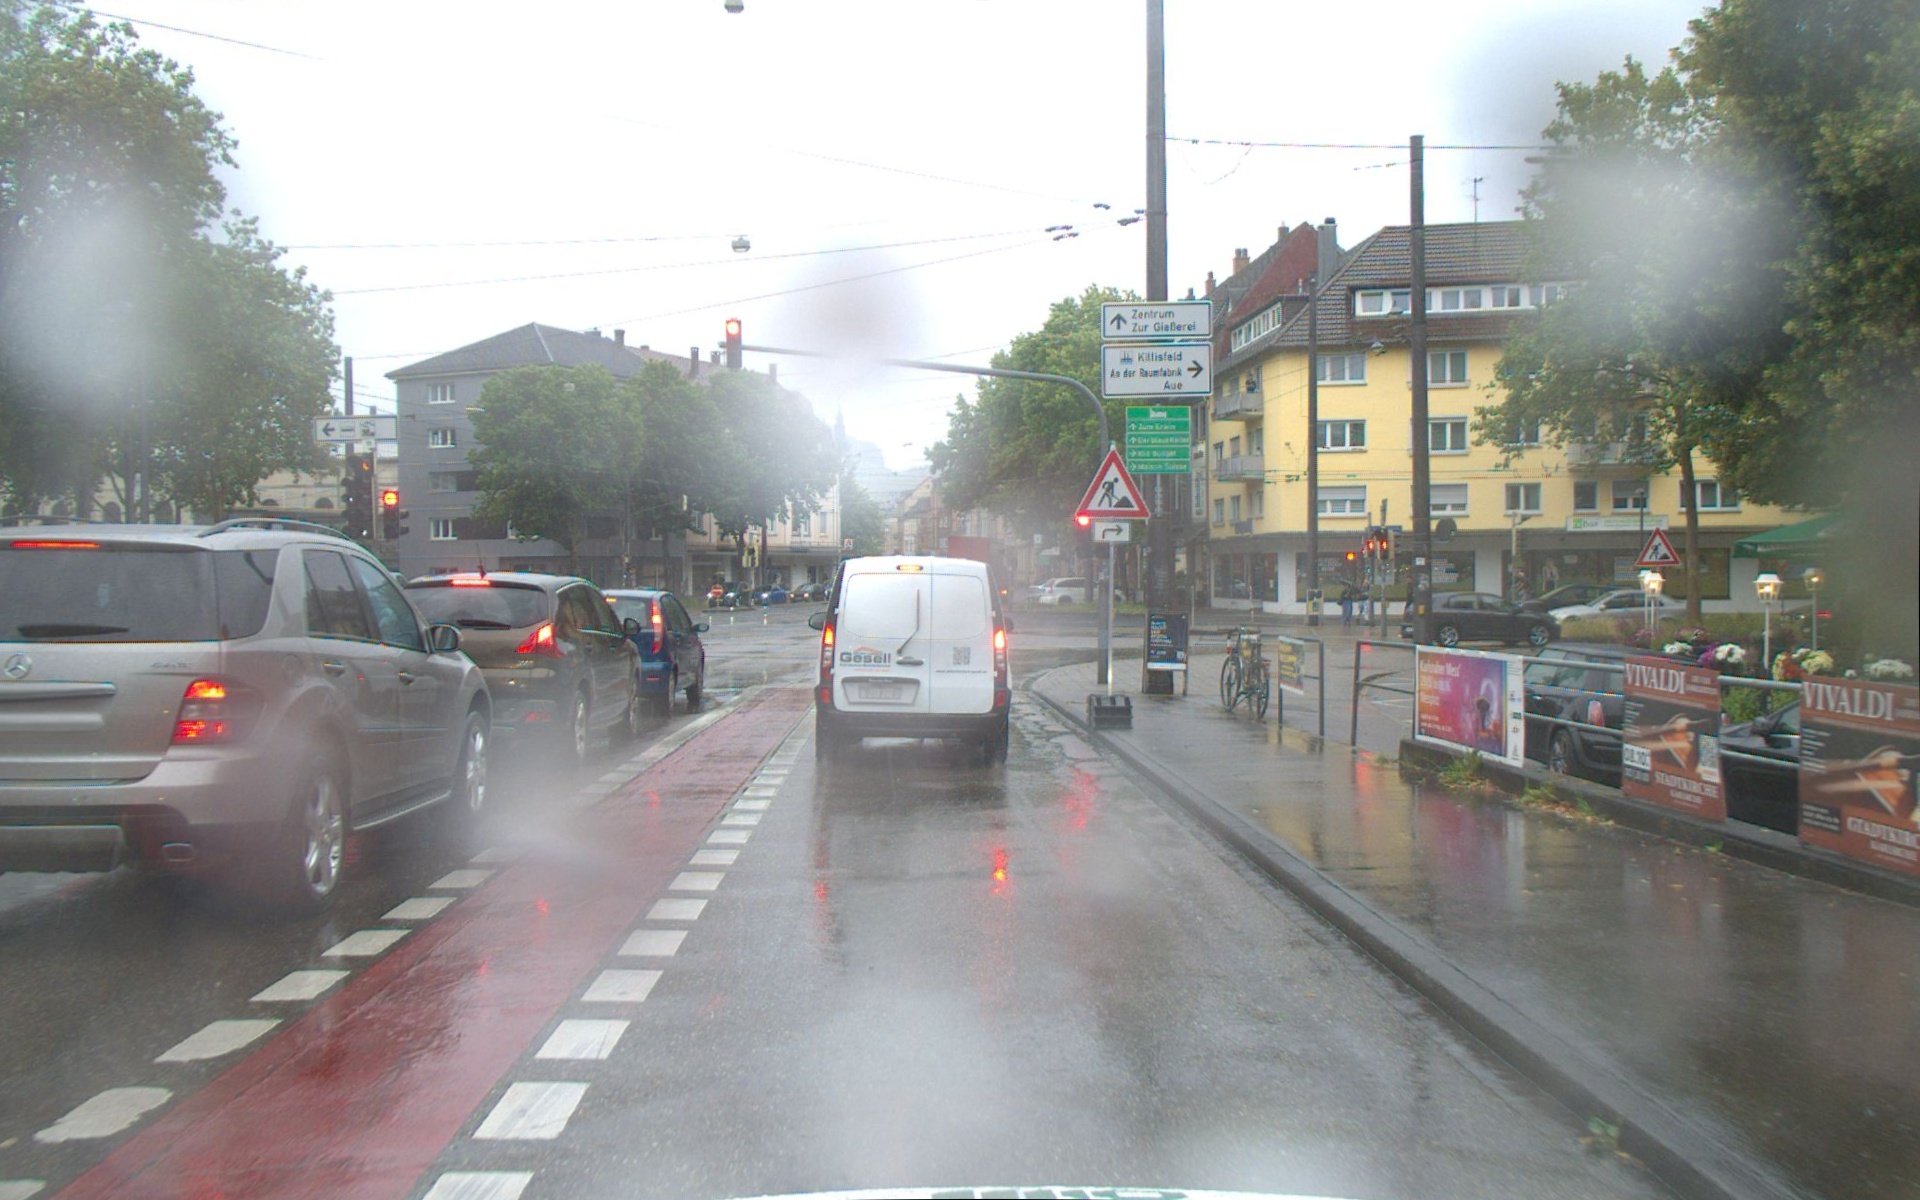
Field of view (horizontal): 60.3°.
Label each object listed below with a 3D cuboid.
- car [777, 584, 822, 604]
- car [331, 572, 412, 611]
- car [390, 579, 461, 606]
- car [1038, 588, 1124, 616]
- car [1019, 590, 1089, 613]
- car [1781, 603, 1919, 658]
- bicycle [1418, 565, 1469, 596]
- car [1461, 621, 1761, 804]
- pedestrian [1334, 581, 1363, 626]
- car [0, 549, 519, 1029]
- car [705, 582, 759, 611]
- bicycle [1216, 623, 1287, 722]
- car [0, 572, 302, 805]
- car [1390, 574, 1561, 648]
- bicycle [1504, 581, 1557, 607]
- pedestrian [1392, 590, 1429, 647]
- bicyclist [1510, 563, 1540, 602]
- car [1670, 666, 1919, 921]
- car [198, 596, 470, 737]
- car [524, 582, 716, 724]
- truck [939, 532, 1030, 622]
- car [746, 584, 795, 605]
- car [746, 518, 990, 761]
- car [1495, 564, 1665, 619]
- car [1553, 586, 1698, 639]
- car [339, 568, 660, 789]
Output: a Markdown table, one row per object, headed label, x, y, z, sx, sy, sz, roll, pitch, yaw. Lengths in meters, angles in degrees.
| label | x | y | z | sx | sy | sz | roll | pitch | yaw |
| --- | --- | --- | --- | --- | --- | --- | --- | --- | --- |
| car | -11.353 | -0.432 | 117.134 | 1.909 | 1.260 | 4.004 | 0 | 2 | 15 |
| car | -35.728 | -0.551 | 100.556 | 1.953 | 2.236 | 4.788 | 2 | 2 | 22 |
| car | -32.502 | -0.462 | 100.758 | 1.915 | 1.522 | 3.998 | 2 | 2 | 25 |
| car | 6.095 | 0.079 | 83.219 | 4.089 | 1.362 | 1.518 | 0 | 1 | -9 |
| car | 4.809 | 0.085 | 84.973 | 3.378 | 1.150 | 1.468 | 1 | 0 | -10 |
| car | 23.913 | 0.780 | 43.307 | 3.902 | 1.355 | 2.002 | 1 | 0 | 10 |
| bicycle | 20.419 | -0.843 | 69.864 | 2.056 | 1.283 | 0.532 | 0 | 1 | 13 |
| car | 6.592 | 1.073 | 17.165 | 1.670 | 1.467 | 3.525 | 3 | 1 | 0 |
| pedestrian | 13.474 | 0.128 | 57.397 | 0.809 | 1.560 | 0.614 | 1 | 0 | -40 |
| car | -3.761 | 0.697 | 8.431 | 1.984 | 1.801 | 4.460 | 1 | 0 | -3 |
| car | -14.158 | -0.228 | 102.897 | 1.909 | 1.635 | 4.004 | 2 | 2 | 15 |
| bicycle | 3.709 | 0.899 | 21.157 | 0.504 | 1.126 | 2.017 | 3 | 1 | 0 |
| car | -6.996 | 0.625 | 13.725 | 1.612 | 1.657 | 3.835 | 0 | 0 | -2 |
| car | 13.795 | 0.290 | 44.401 | 3.910 | 1.898 | 1.997 | 1 | 0 | -6 |
| bicycle | 23.271 | -0.257 | 67.484 | 1.974 | 1.045 | 0.660 | 1 | 0 | 11 |
| pedestrian | 13.608 | 0.557 | 49.974 | 0.886 | 1.698 | 1.019 | 1 | 0 | 26 |
| bicyclist | 23.064 | -0.712 | 67.541 | 1.043 | 1.574 | 0.937 | 1 | 0 | 10 |
| car | 6.744 | 1.276 | 11.681 | 1.668 | 1.424 | 3.971 | 1 | 0 | -2 |
| car | -7.407 | 0.717 | 20.012 | 1.806 | 1.510 | 3.999 | 1 | 0 | -1 |
| car | -4.144 | 0.593 | 20.701 | 1.692 | 1.606 | 3.819 | 1 | 0 | -2 |
| truck | 1.718 | -1.357 | 103.700 | 3.395 | 5.176 | 15.320 | 1 | 0 | 9 |
| car | -12.452 | -0.376 | 108.987 | 1.909 | 1.260 | 4.004 | 0 | 2 | 15 |
| car | -0.839 | 0.329 | 16.448 | 2.058 | 2.047 | 4.961 | 0 | 0 | -2 |
| car | 19.935 | -0.277 | 53.380 | 4.832 | 1.672 | 2.001 | 0 | -2 | 11 |
| car | 20.140 | 0.348 | 50.219 | 3.854 | 1.516 | 1.808 | 0 | 1 | 14 |
| car | -3.938 | 0.600 | 14.878 | 1.797 | 1.697 | 4.171 | 1 | 0 | -2 |
